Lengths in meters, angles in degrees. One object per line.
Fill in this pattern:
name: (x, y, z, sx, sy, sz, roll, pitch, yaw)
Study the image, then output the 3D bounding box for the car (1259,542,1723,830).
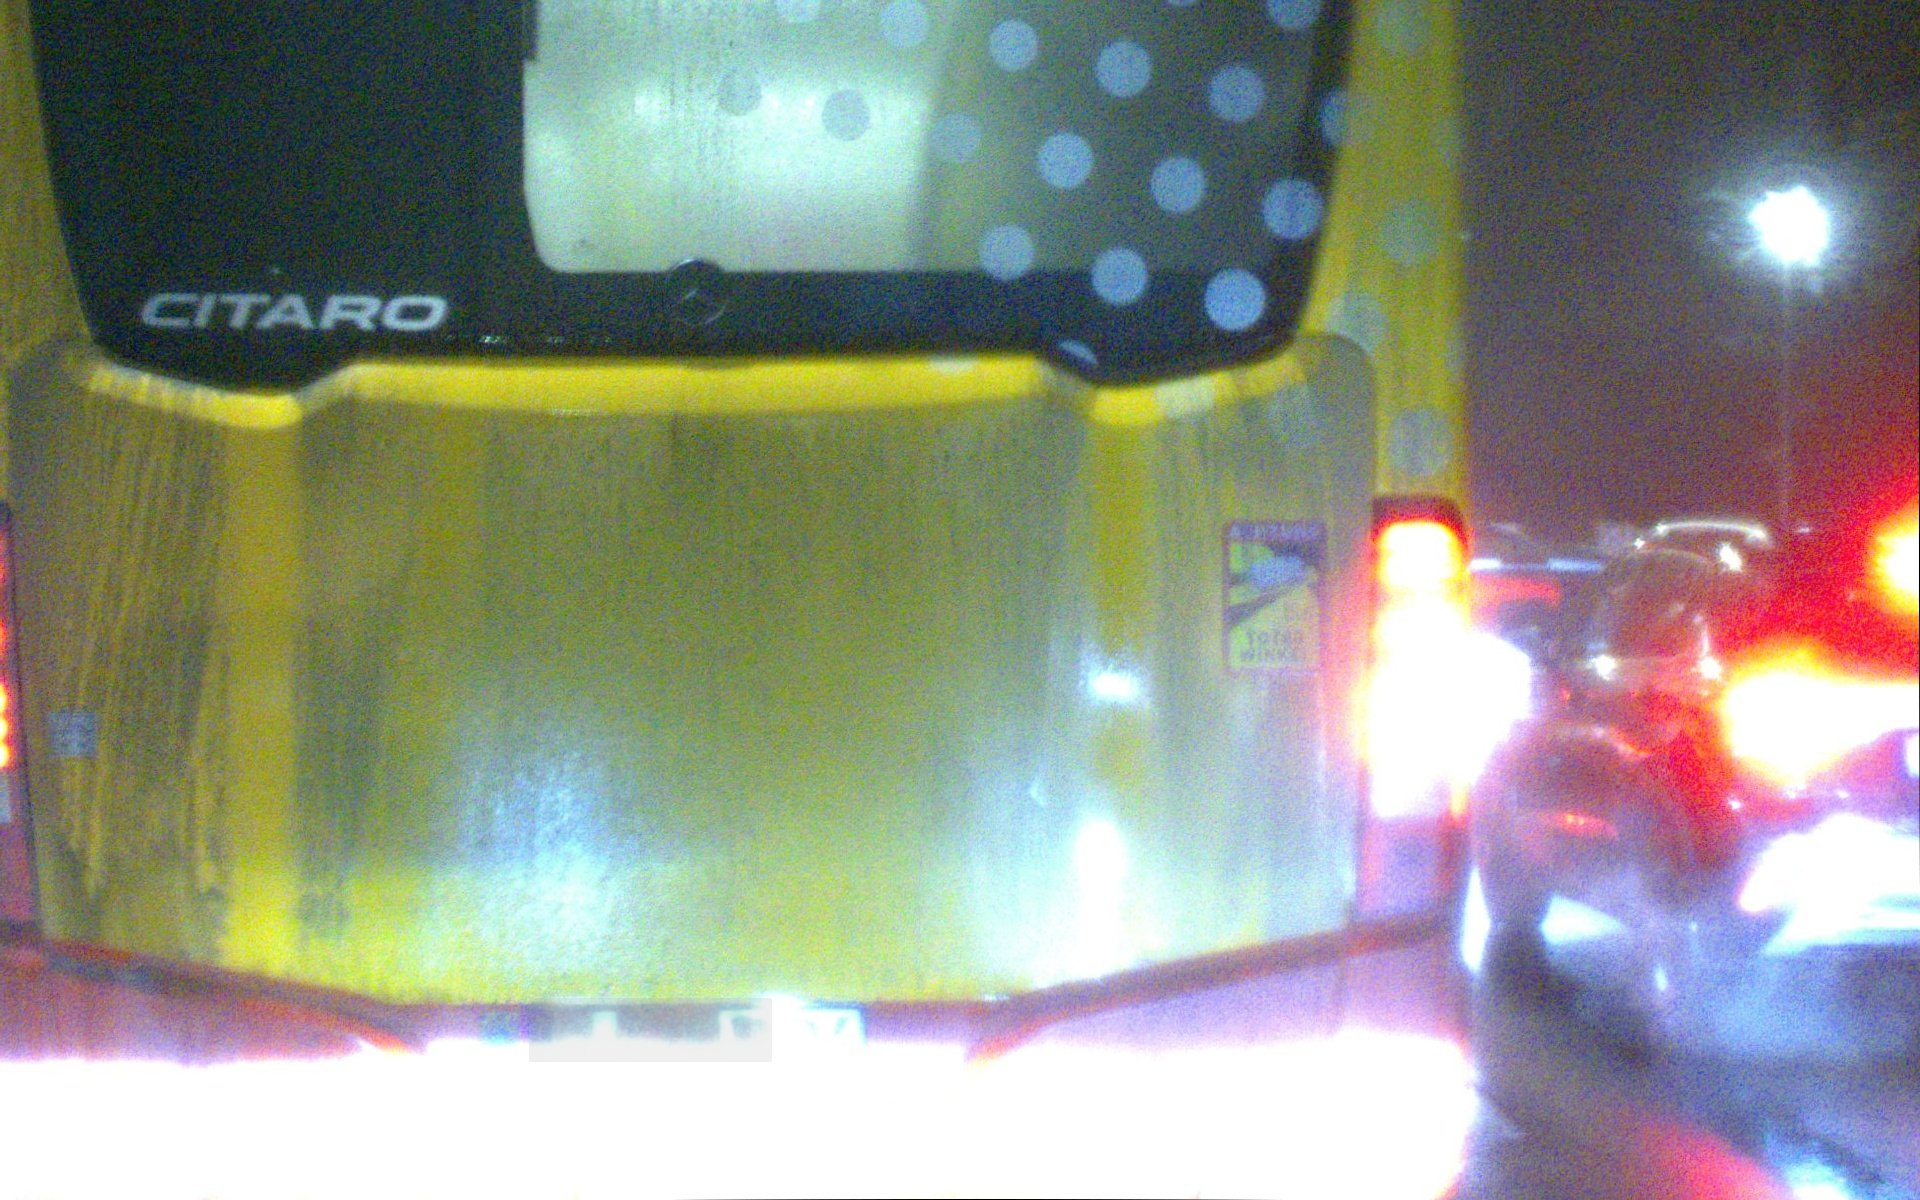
car: (2.644, 0.371, 17.956, 1.686, 1.326, 3.961, -1, 1, -2)

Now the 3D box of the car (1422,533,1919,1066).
car: (2.803, 0.557, 11.823, 1.677, 1.516, 3.961, 1, 1, -3)

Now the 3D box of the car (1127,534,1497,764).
car: (2.340, 0.292, 23.906, 1.993, 1.436, 4.000, 1, 1, -2)

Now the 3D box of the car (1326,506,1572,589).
car: (9.716, -1.050, 68.518, 4.482, 1.513, 1.858, 1, 3, -8)

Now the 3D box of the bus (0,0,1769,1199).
bus: (-0.626, -0.312, 9.830, 3.285, 3.039, 9.546, 0, 2, -2)
